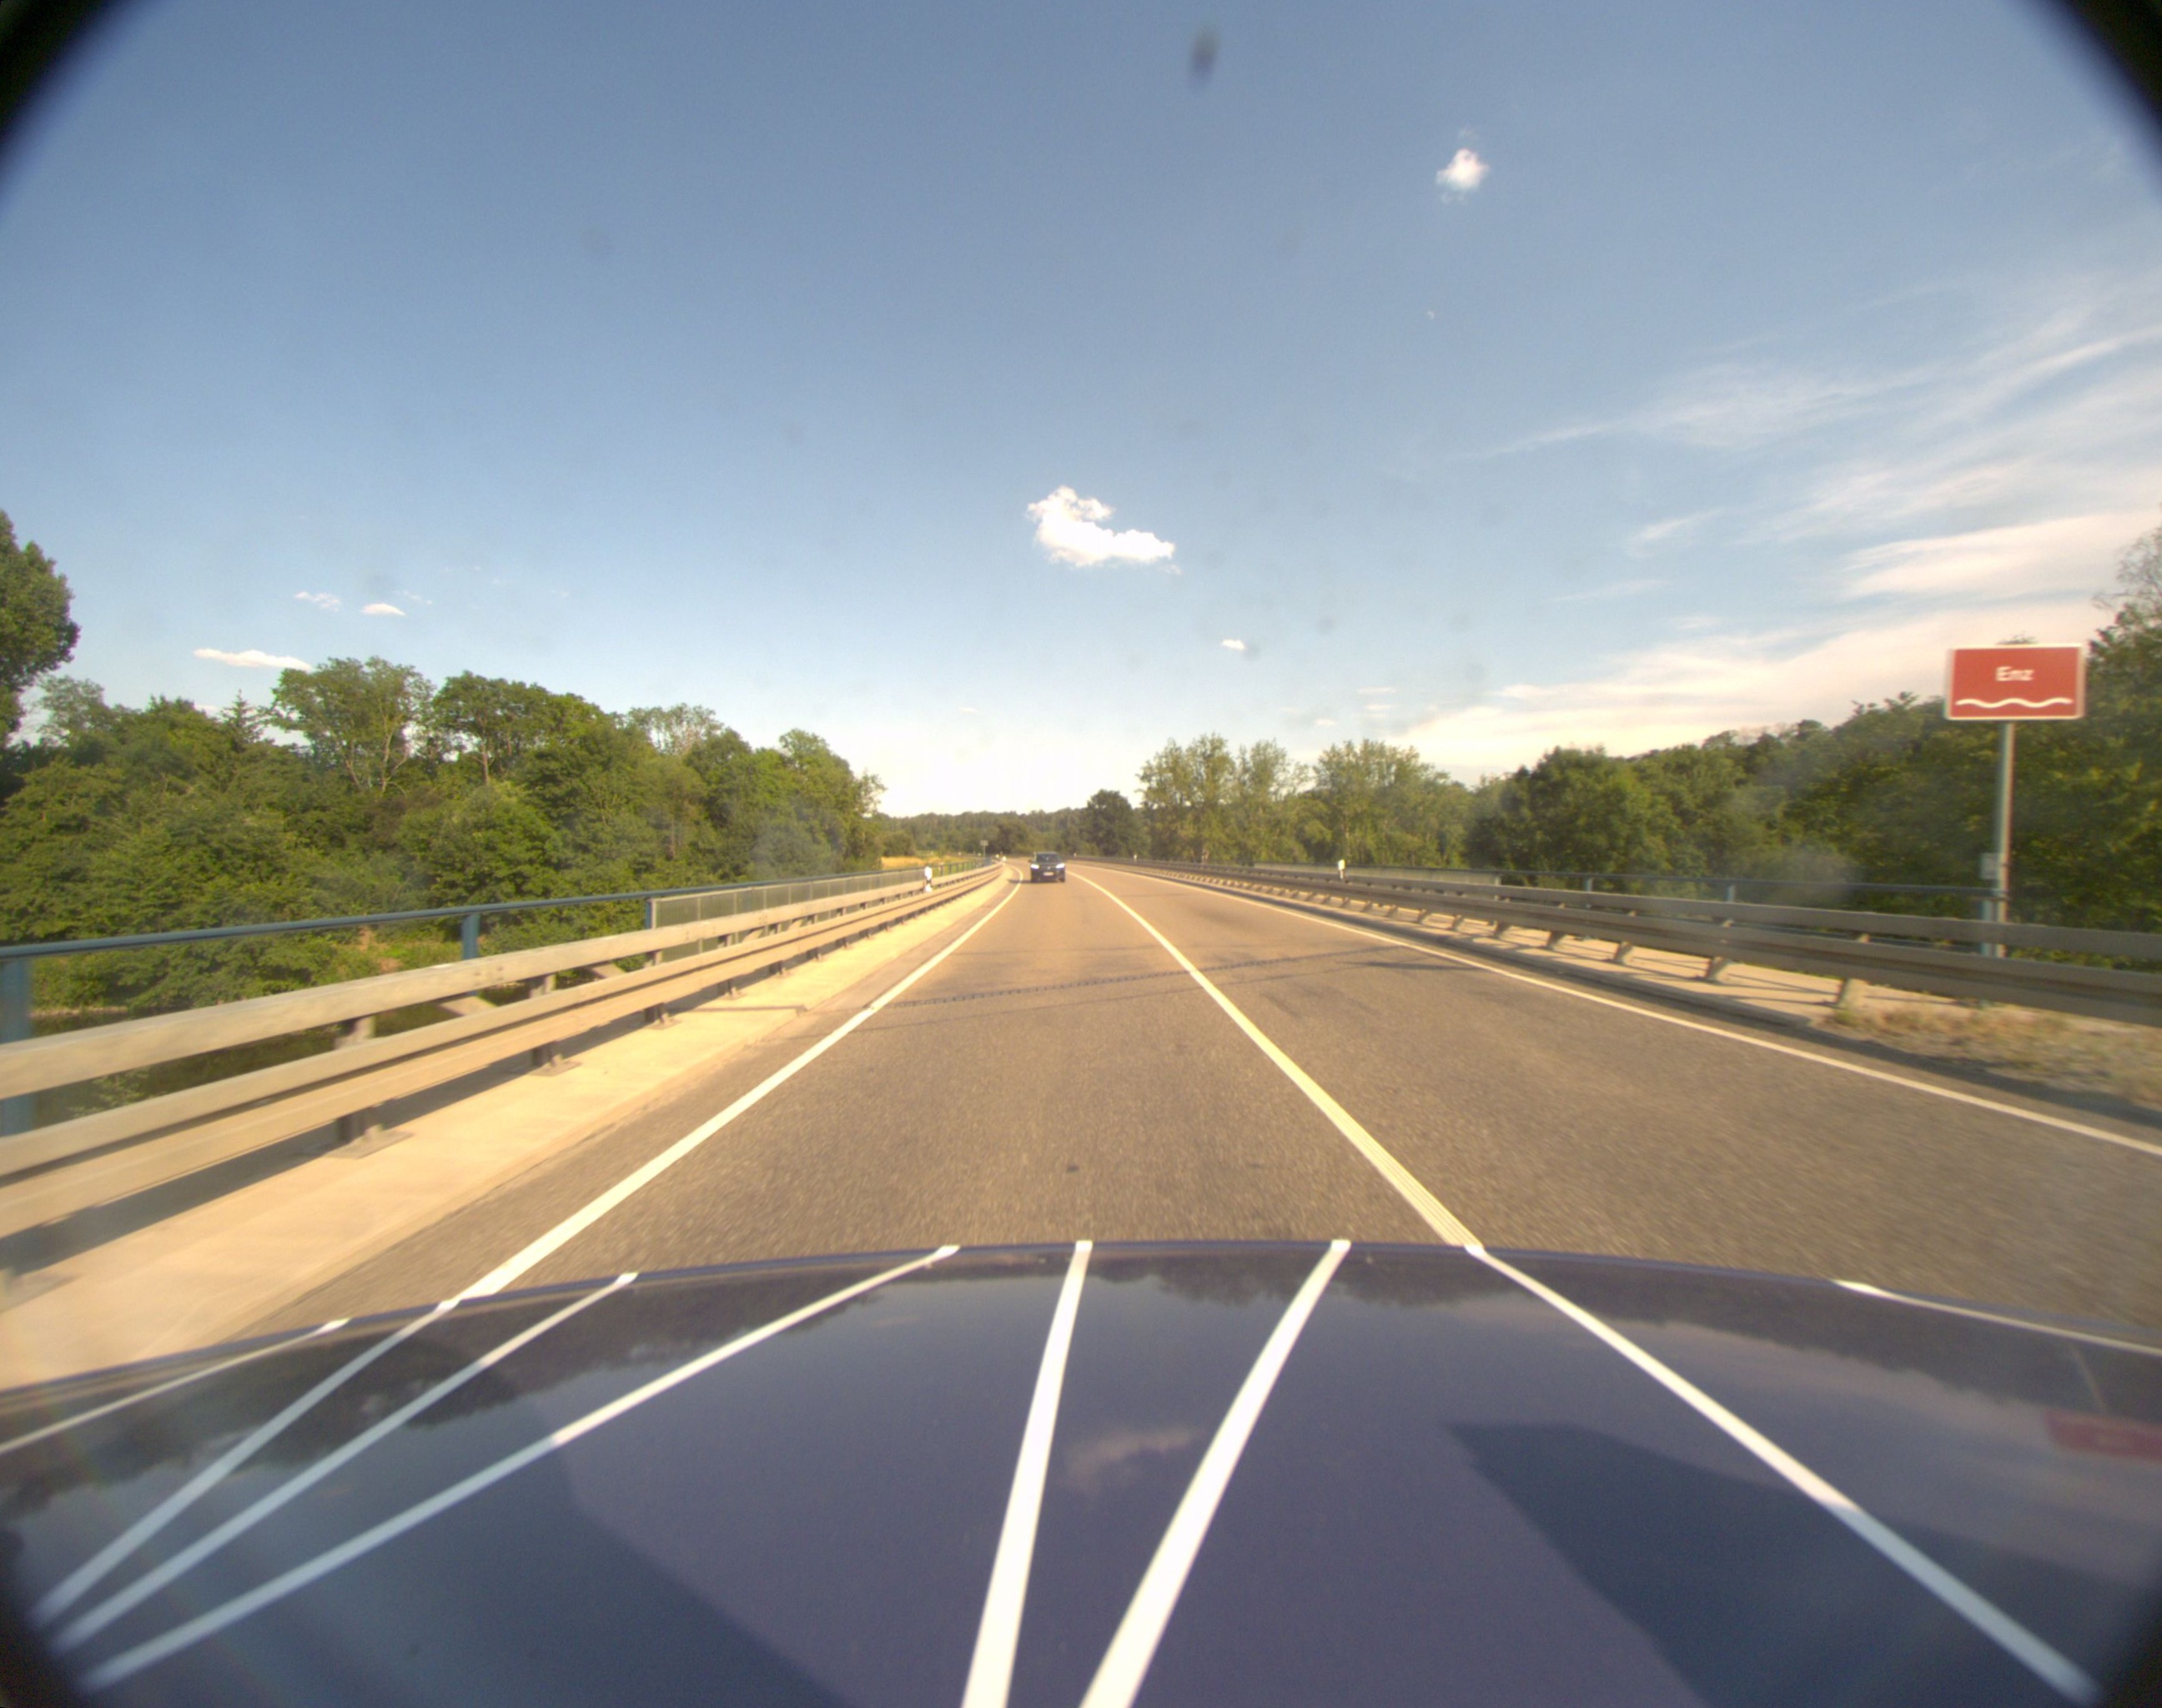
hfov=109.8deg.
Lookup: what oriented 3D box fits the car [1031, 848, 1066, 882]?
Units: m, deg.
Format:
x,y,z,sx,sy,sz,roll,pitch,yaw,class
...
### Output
x,y,z,sx,sy,sz,roll,pitch,yaw,class
-1.828,0.567,41.568,1.751,1.645,4.303,-1,2,-5,car
